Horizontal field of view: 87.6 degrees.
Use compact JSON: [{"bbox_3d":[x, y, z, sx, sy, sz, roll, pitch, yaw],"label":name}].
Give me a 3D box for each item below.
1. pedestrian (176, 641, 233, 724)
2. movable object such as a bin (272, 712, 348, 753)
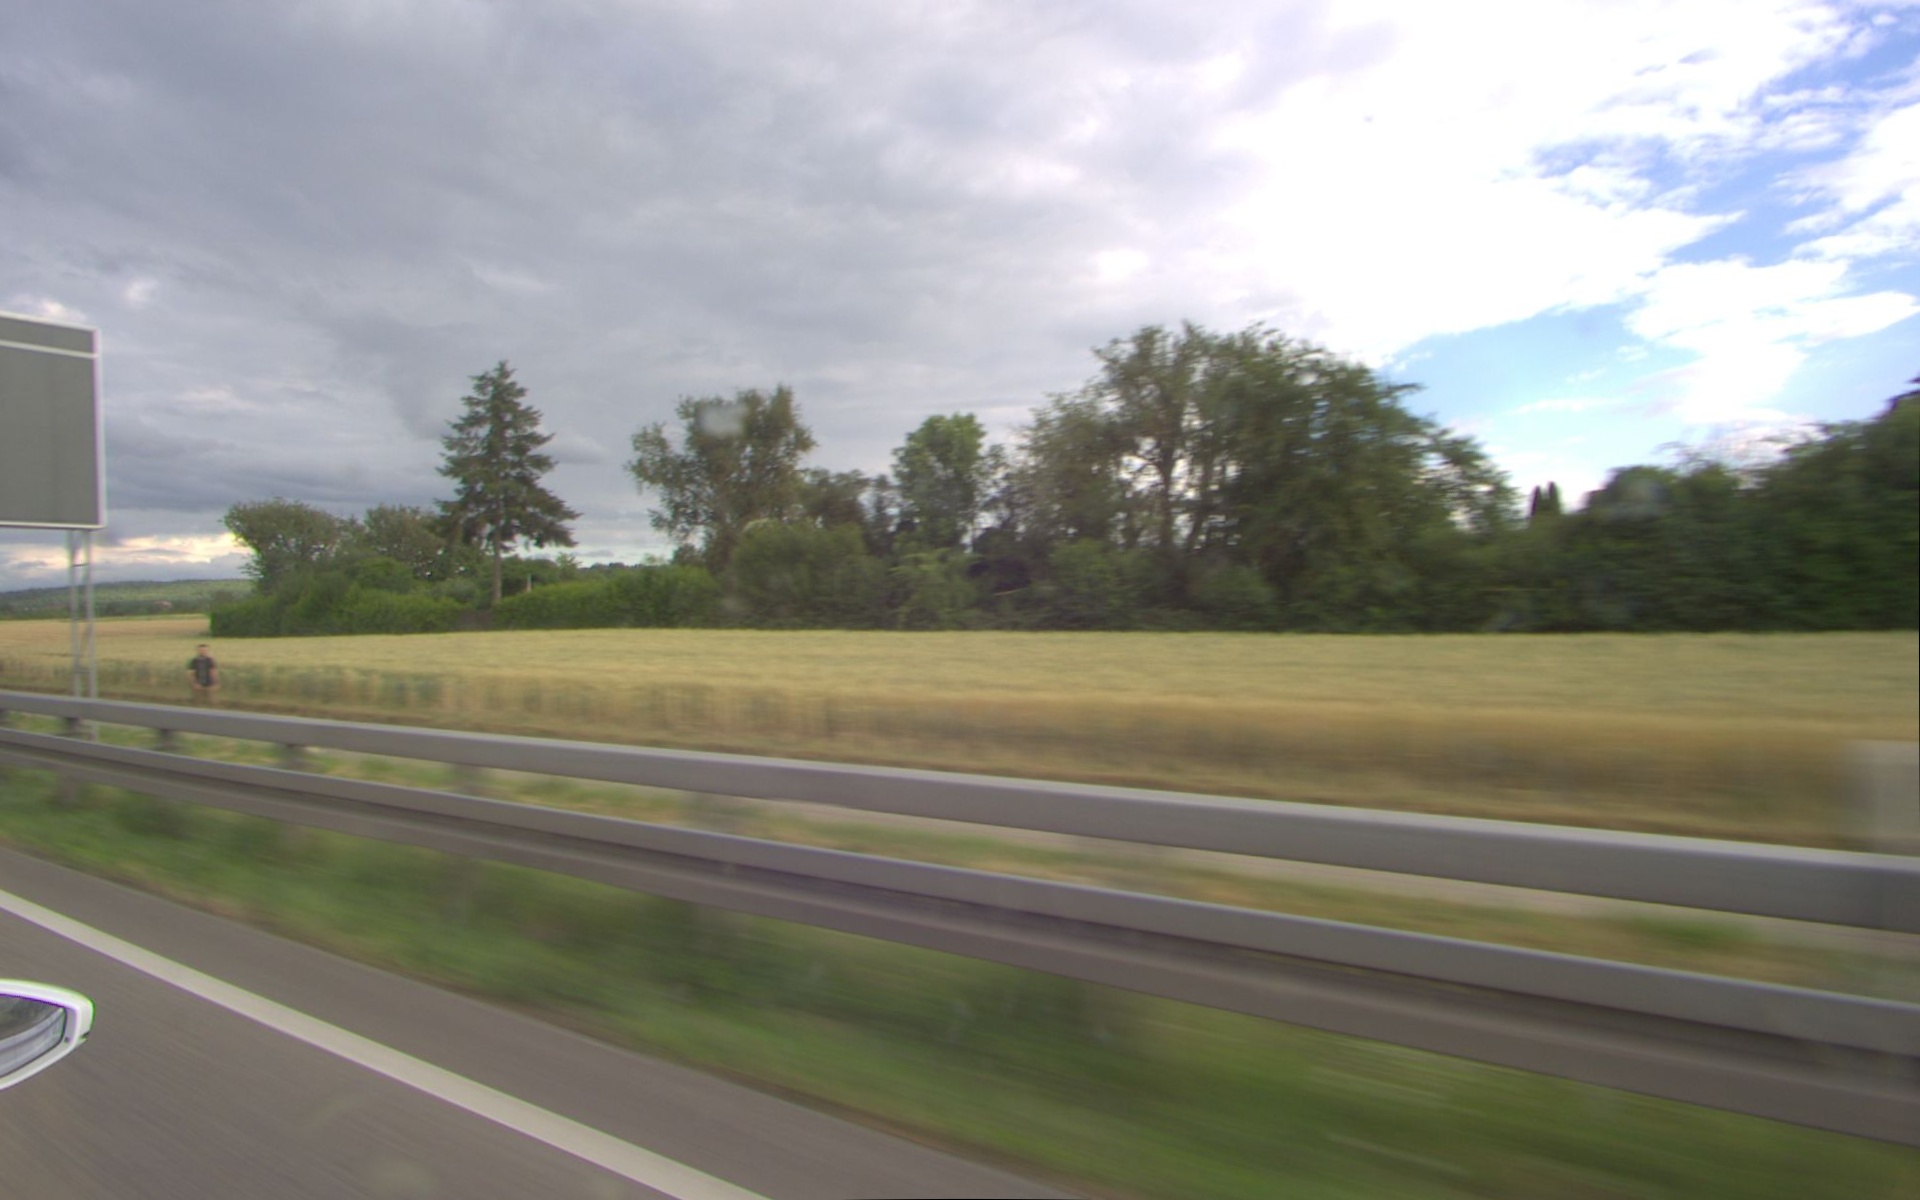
[{"bbox_3d":[-17.690,1.904,23.458,0.927,1.891,0.770,-1,-2,32],"label":"pedestrian"},{"bbox_3d":[-12.020,2.441,18.517,1.218,0.653,0.731,-2,-3,32],"label":"movable object such as a bin"}]
